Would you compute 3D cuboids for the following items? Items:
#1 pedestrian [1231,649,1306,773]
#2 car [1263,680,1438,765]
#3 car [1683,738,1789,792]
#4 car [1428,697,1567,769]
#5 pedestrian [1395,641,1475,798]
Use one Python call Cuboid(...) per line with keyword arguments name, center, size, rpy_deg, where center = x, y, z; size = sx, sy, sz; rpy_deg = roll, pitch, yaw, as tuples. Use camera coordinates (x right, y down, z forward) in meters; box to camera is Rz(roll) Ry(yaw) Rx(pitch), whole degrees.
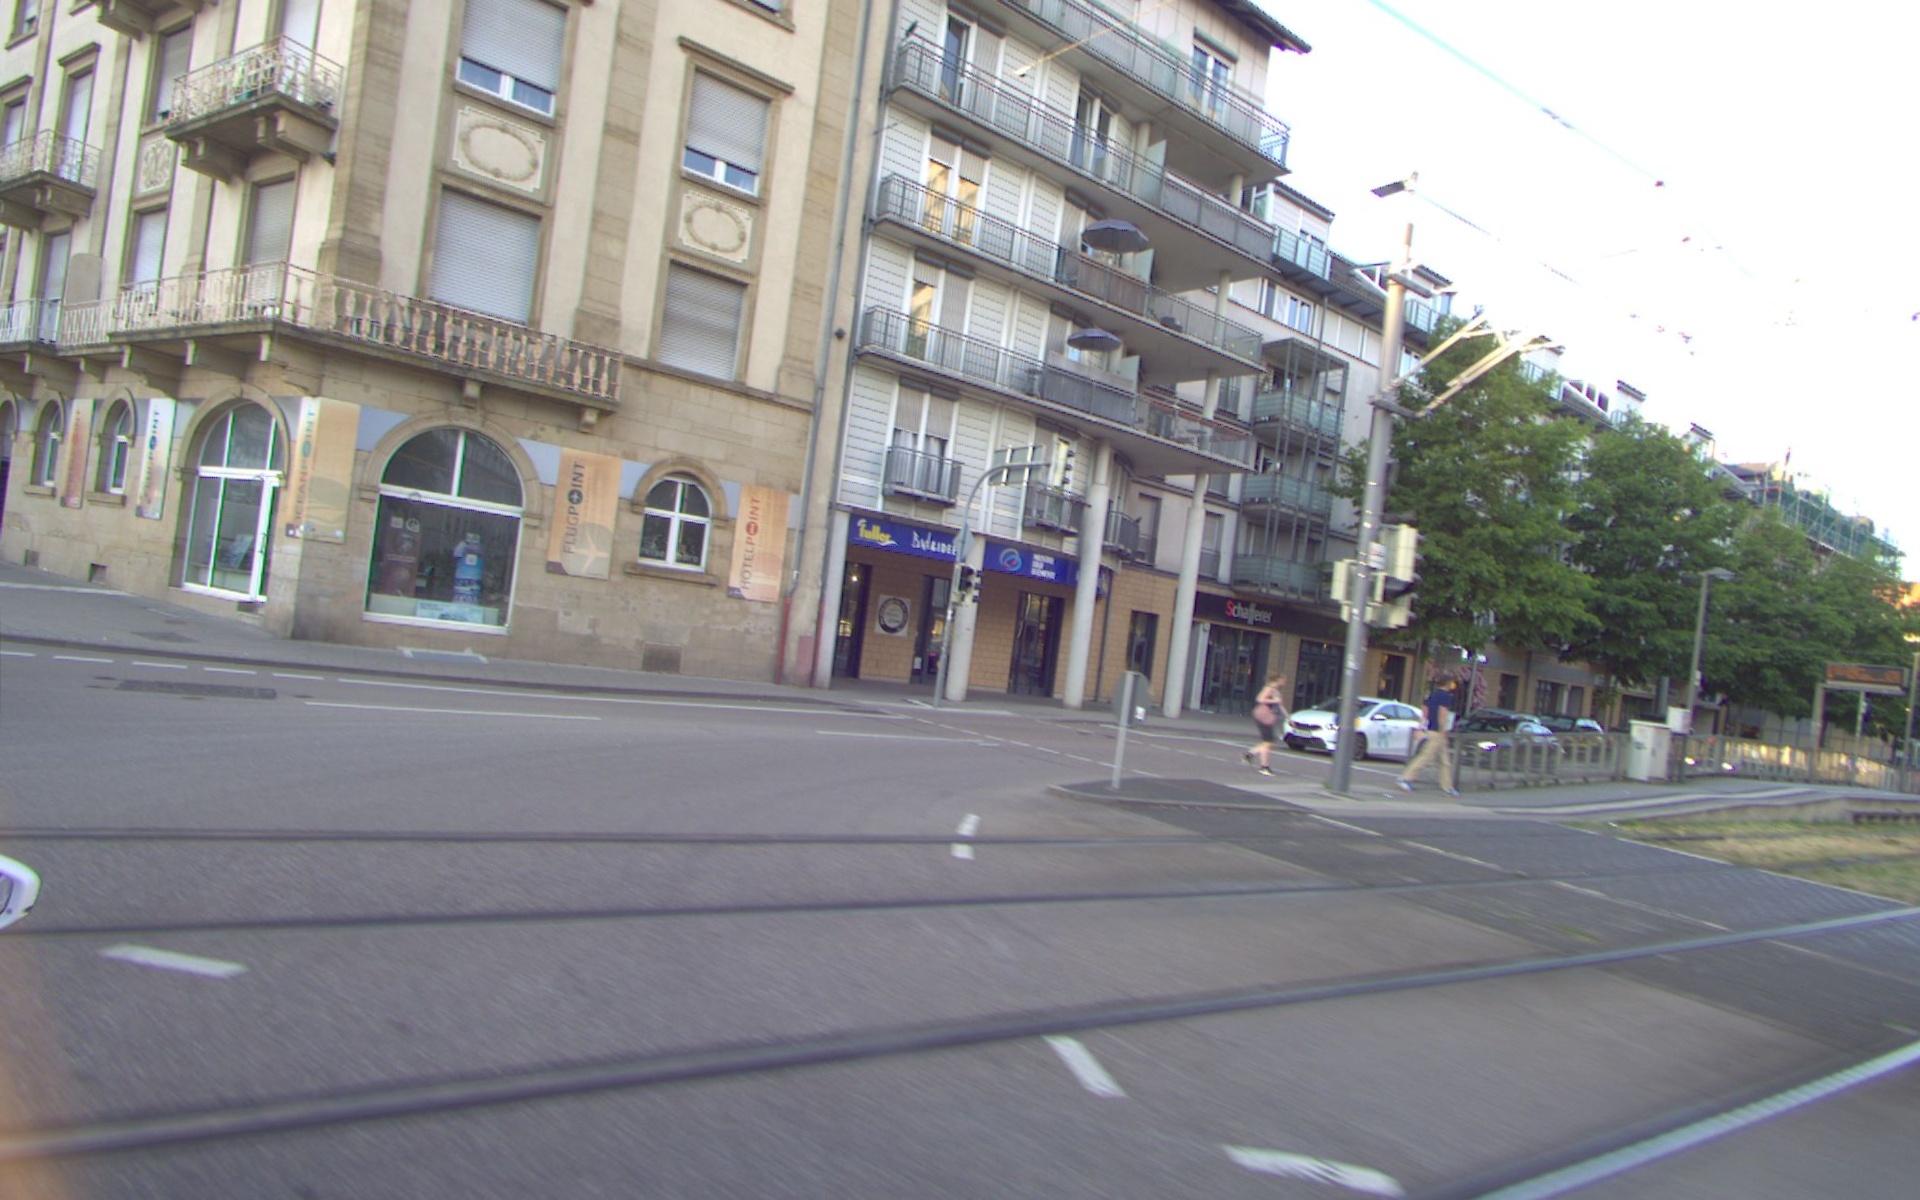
Cuboid(name="pedestrian", center=(4.763, 1.714, 15.554), size=(0.781, 1.799, 0.539), rpy_deg=(8, -1, -32))
Cuboid(name="car", center=(9.294, 2.919, 23.861), size=(3.963, 1.503, 1.834), rpy_deg=(9, -3, -33))
Cuboid(name="car", center=(28.453, 6.063, 36.858), size=(3.963, 1.503, 1.834), rpy_deg=(9, -3, -33))
Cuboid(name="car", center=(14.875, 3.698, 27.789), size=(3.970, 1.503, 1.831), rpy_deg=(9, -3, -38))
Cuboid(name="pedestrian", center=(7.290, 1.818, 15.467), size=(0.855, 2.234, 0.821), rpy_deg=(7, -1, 26))
